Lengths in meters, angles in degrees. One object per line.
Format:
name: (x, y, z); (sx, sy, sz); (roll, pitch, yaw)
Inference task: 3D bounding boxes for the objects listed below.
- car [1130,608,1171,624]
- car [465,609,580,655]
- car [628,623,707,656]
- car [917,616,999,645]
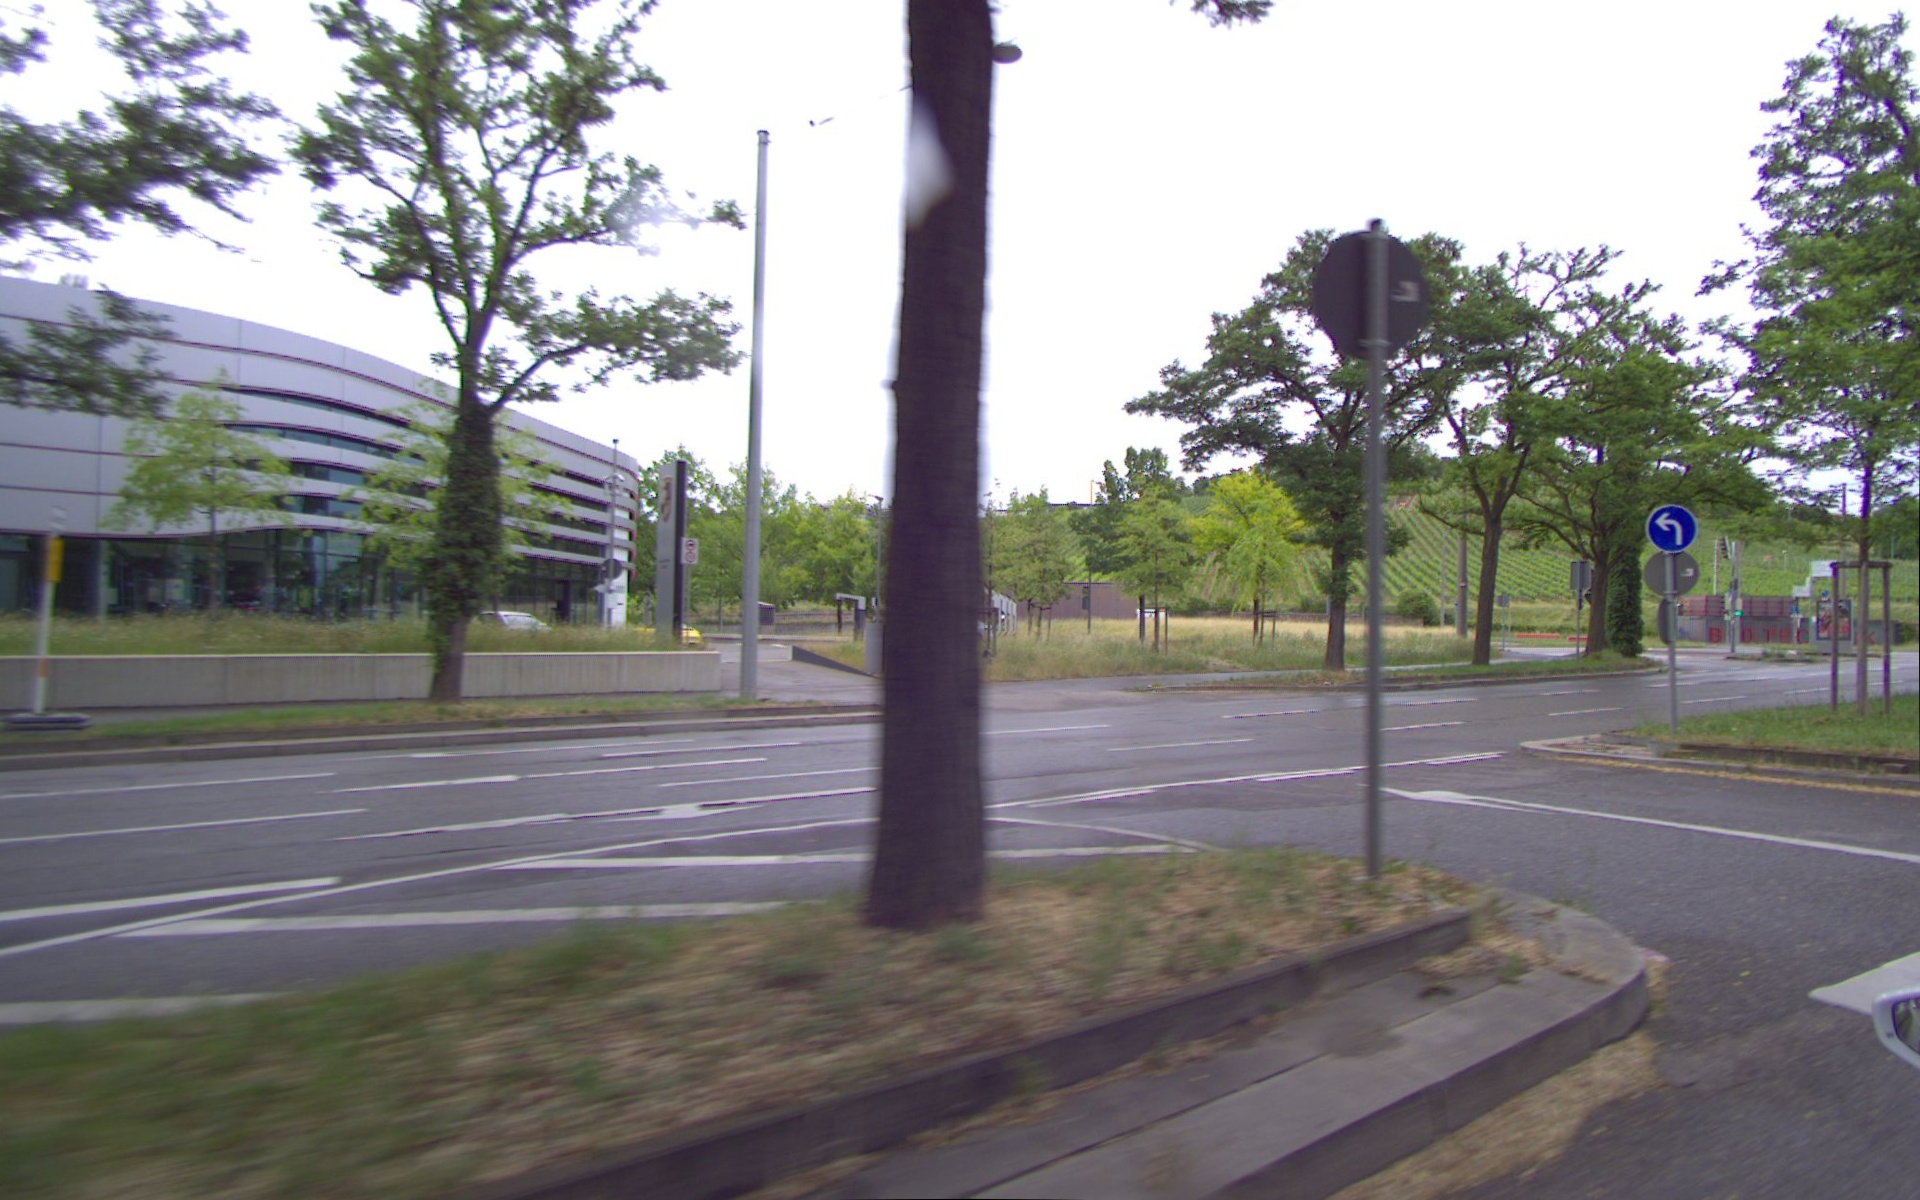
car: (22.444, 1.853, 118.245); (4.560, 1.710, 2.219); (2, 1, 14)
car: (-15.764, 1.124, 36.171); (3.928, 1.432, 1.775); (2, 1, 30)
car: (-14.076, 1.879, 48.196); (3.936, 1.341, 1.614); (2, 1, 37)
car: (-0.109, 1.548, 50.749); (3.927, 1.261, 1.618); (2, 1, -8)
